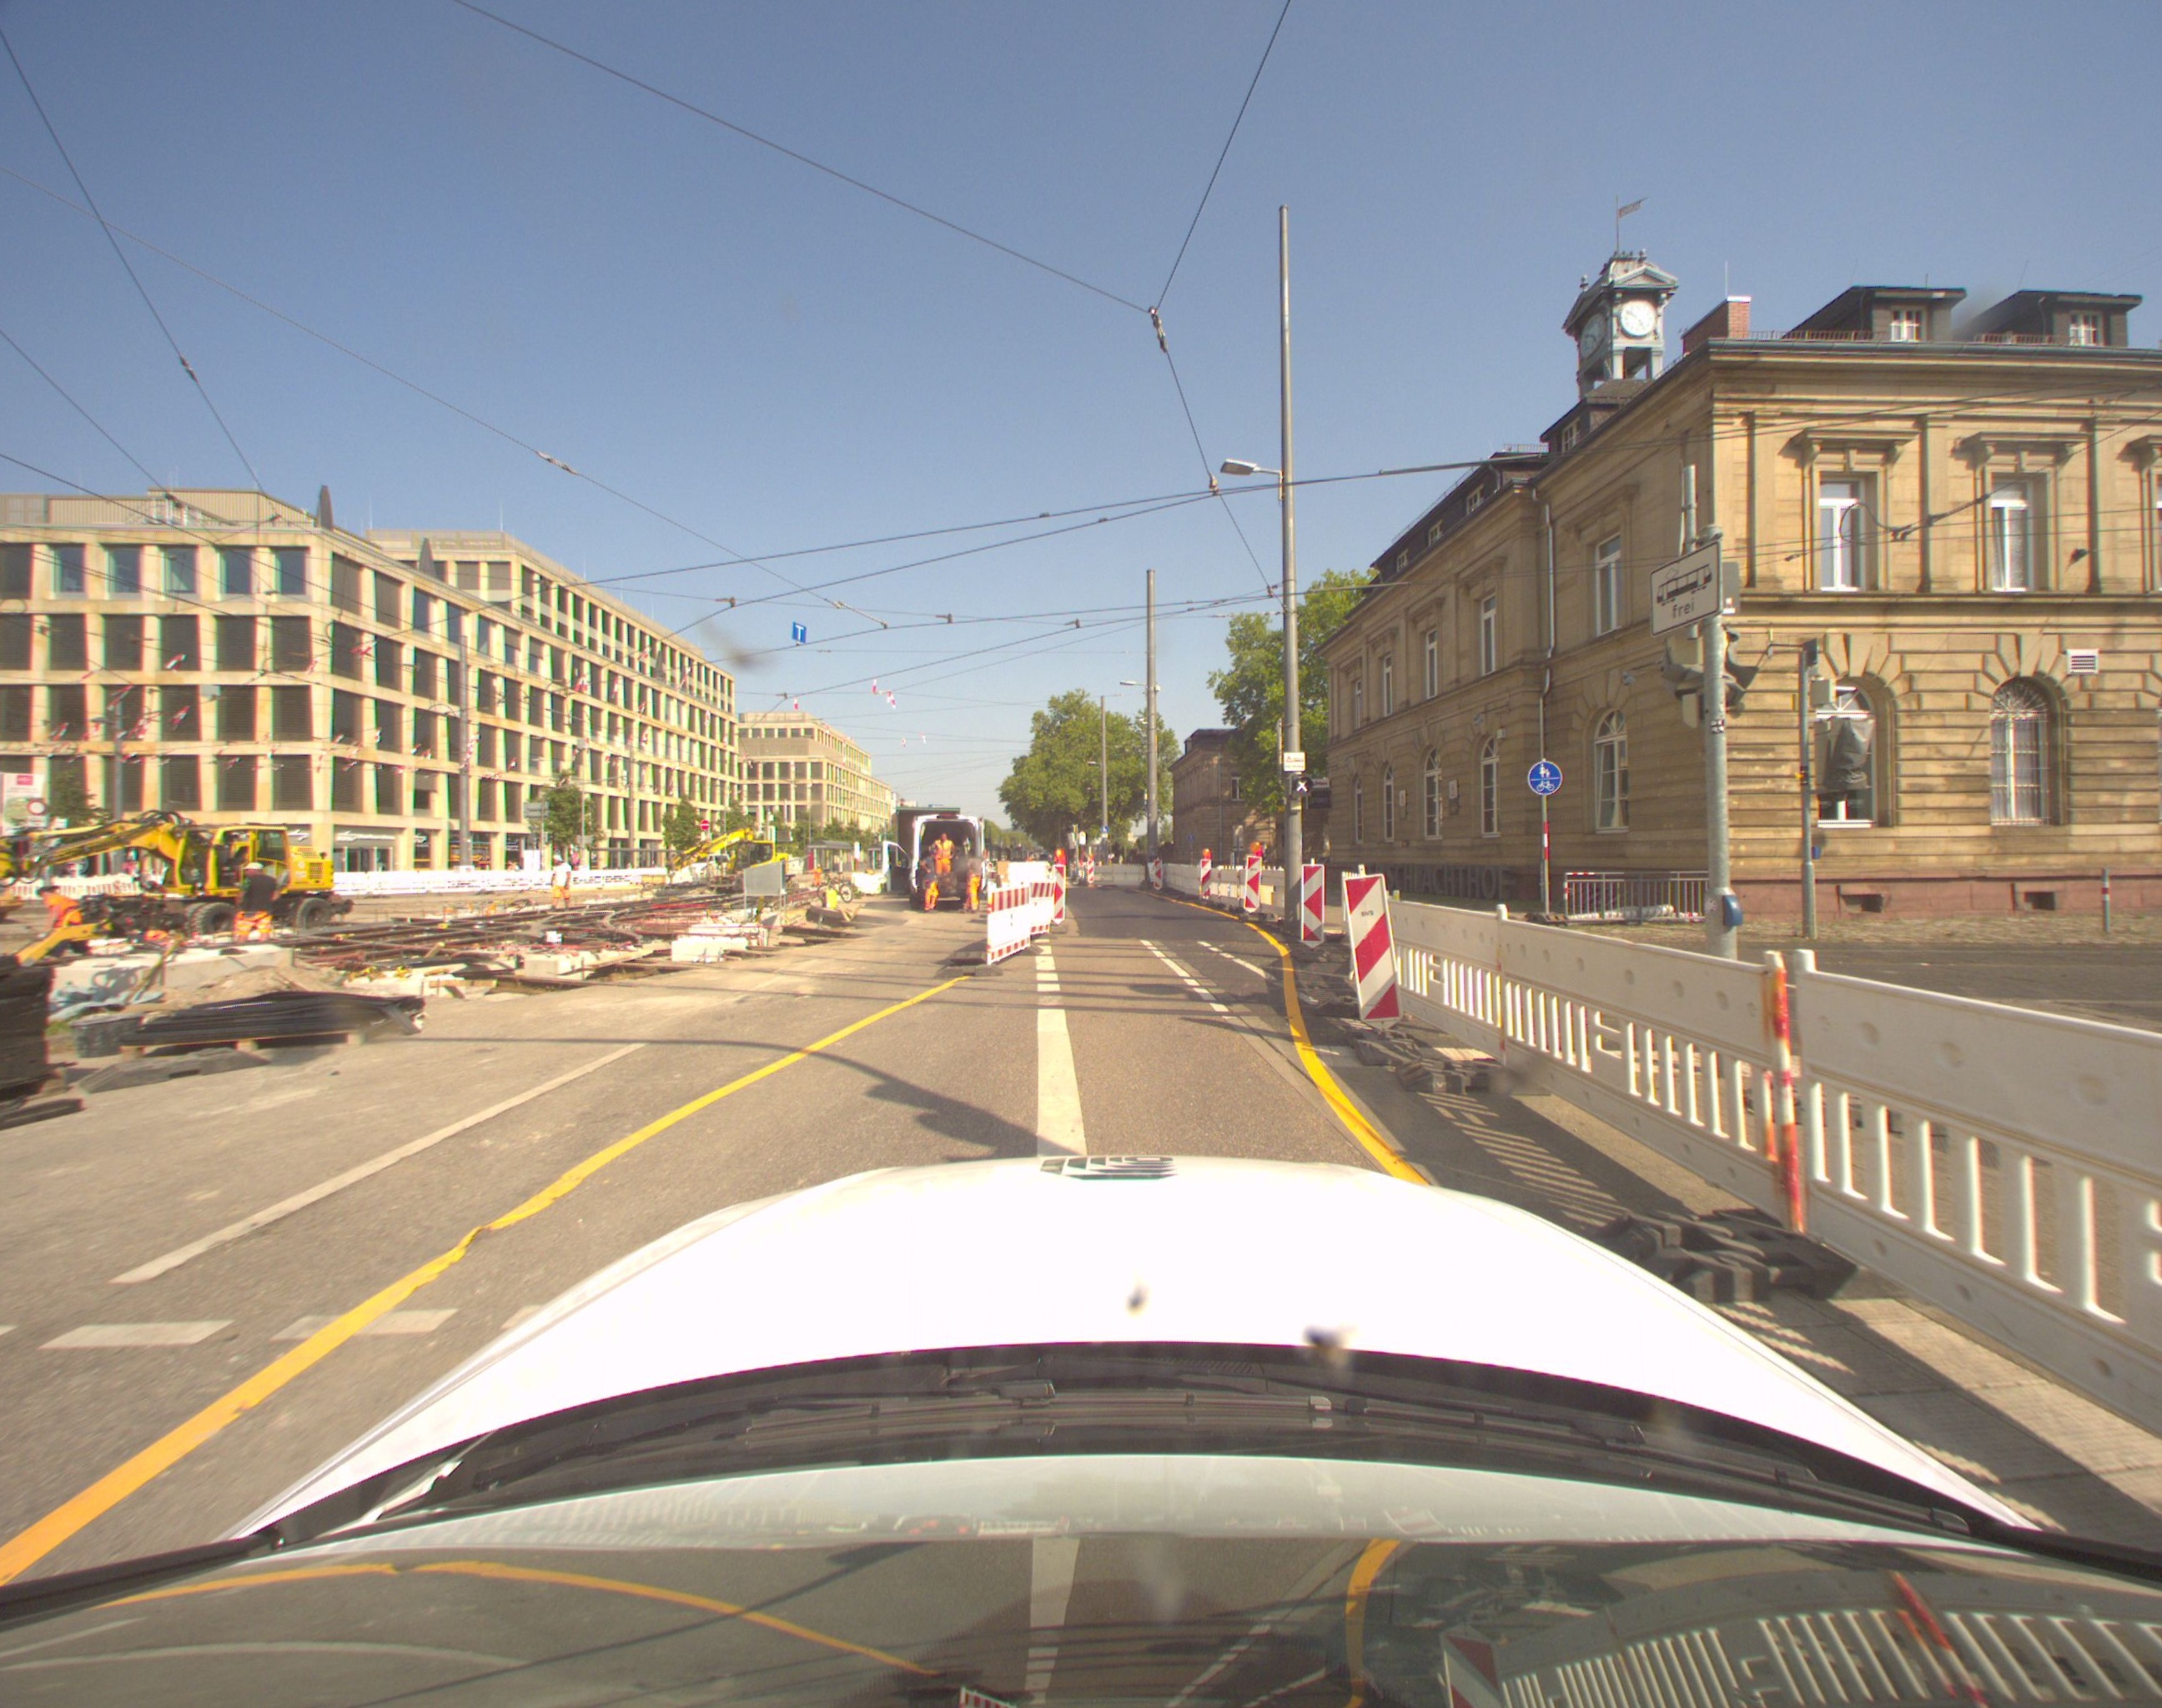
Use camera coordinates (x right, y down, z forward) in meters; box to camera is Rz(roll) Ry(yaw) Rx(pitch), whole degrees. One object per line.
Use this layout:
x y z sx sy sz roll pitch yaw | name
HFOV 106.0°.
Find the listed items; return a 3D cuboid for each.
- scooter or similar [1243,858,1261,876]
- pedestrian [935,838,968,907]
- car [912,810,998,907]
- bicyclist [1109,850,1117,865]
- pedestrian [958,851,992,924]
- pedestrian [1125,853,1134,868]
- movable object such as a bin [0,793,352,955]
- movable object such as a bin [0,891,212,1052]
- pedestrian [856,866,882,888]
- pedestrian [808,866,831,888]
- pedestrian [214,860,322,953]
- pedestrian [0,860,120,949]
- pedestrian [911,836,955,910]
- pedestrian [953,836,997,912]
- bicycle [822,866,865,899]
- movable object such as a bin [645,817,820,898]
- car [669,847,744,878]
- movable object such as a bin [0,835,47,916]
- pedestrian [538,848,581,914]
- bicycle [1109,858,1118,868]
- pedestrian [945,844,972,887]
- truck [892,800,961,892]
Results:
12.173 0.896 58.001 1.258 1.210 0.419 -2 1 -28 | scooter or similar
-3.836 0.543 24.120 0.731 2.014 0.908 -1 -1 3 | pedestrian
-4.054 0.146 25.522 2.228 2.729 5.146 -1 -1 -14 | car
3.480 0.373 87.548 0.716 1.543 0.954 -1 0 -5 | bicyclist
-2.998 0.936 23.059 0.730 2.014 0.908 -1 -1 4 | pedestrian
5.413 0.751 91.256 0.817 1.686 1.011 -4 -1 -2 | pedestrian
-23.615 0.481 20.607 2.837 3.330 8.343 -1 -1 0 | movable object such as a bin
-8.620 0.932 6.518 0.746 1.170 2.294 -1 0 5 | movable object such as a bin
-12.909 1.412 49.637 1.300 1.306 0.803 -1 0 22 | pedestrian
-16.099 1.414 50.163 1.011 1.306 0.983 -1 0 1 | pedestrian
-14.615 0.910 14.657 1.132 1.589 1.026 -1 -1 24 | pedestrian
-17.579 0.835 13.887 1.139 1.442 1.020 -1 -1 -2 | pedestrian
-4.118 0.512 22.679 0.727 2.014 0.913 -2 -1 29 | pedestrian
-2.866 0.531 22.131 0.727 2.014 0.913 -2 -1 31 | pedestrian
-8.285 0.987 28.381 1.640 1.136 0.621 -2 -1 40 | bicycle
-18.975 0.169 45.277 3.473 4.013 9.089 -1 0 22 | movable object such as a bin
-26.383 0.558 57.596 1.797 2.030 5.142 -1 0 17 | car
-39.331 0.788 27.577 5.600 2.739 2.133 -1 -1 -3 | movable object such as a bin
-15.288 0.779 23.867 1.024 1.866 1.134 0 -1 -34 | pedestrian
3.500 0.935 87.447 0.716 1.042 1.900 -1 0 -4 | bicycle
-4.915 0.458 32.594 0.698 1.694 0.770 -2 -1 34 | pedestrian
-6.973 -0.315 36.814 2.675 3.678 8.183 -1 0 -11 | truck
